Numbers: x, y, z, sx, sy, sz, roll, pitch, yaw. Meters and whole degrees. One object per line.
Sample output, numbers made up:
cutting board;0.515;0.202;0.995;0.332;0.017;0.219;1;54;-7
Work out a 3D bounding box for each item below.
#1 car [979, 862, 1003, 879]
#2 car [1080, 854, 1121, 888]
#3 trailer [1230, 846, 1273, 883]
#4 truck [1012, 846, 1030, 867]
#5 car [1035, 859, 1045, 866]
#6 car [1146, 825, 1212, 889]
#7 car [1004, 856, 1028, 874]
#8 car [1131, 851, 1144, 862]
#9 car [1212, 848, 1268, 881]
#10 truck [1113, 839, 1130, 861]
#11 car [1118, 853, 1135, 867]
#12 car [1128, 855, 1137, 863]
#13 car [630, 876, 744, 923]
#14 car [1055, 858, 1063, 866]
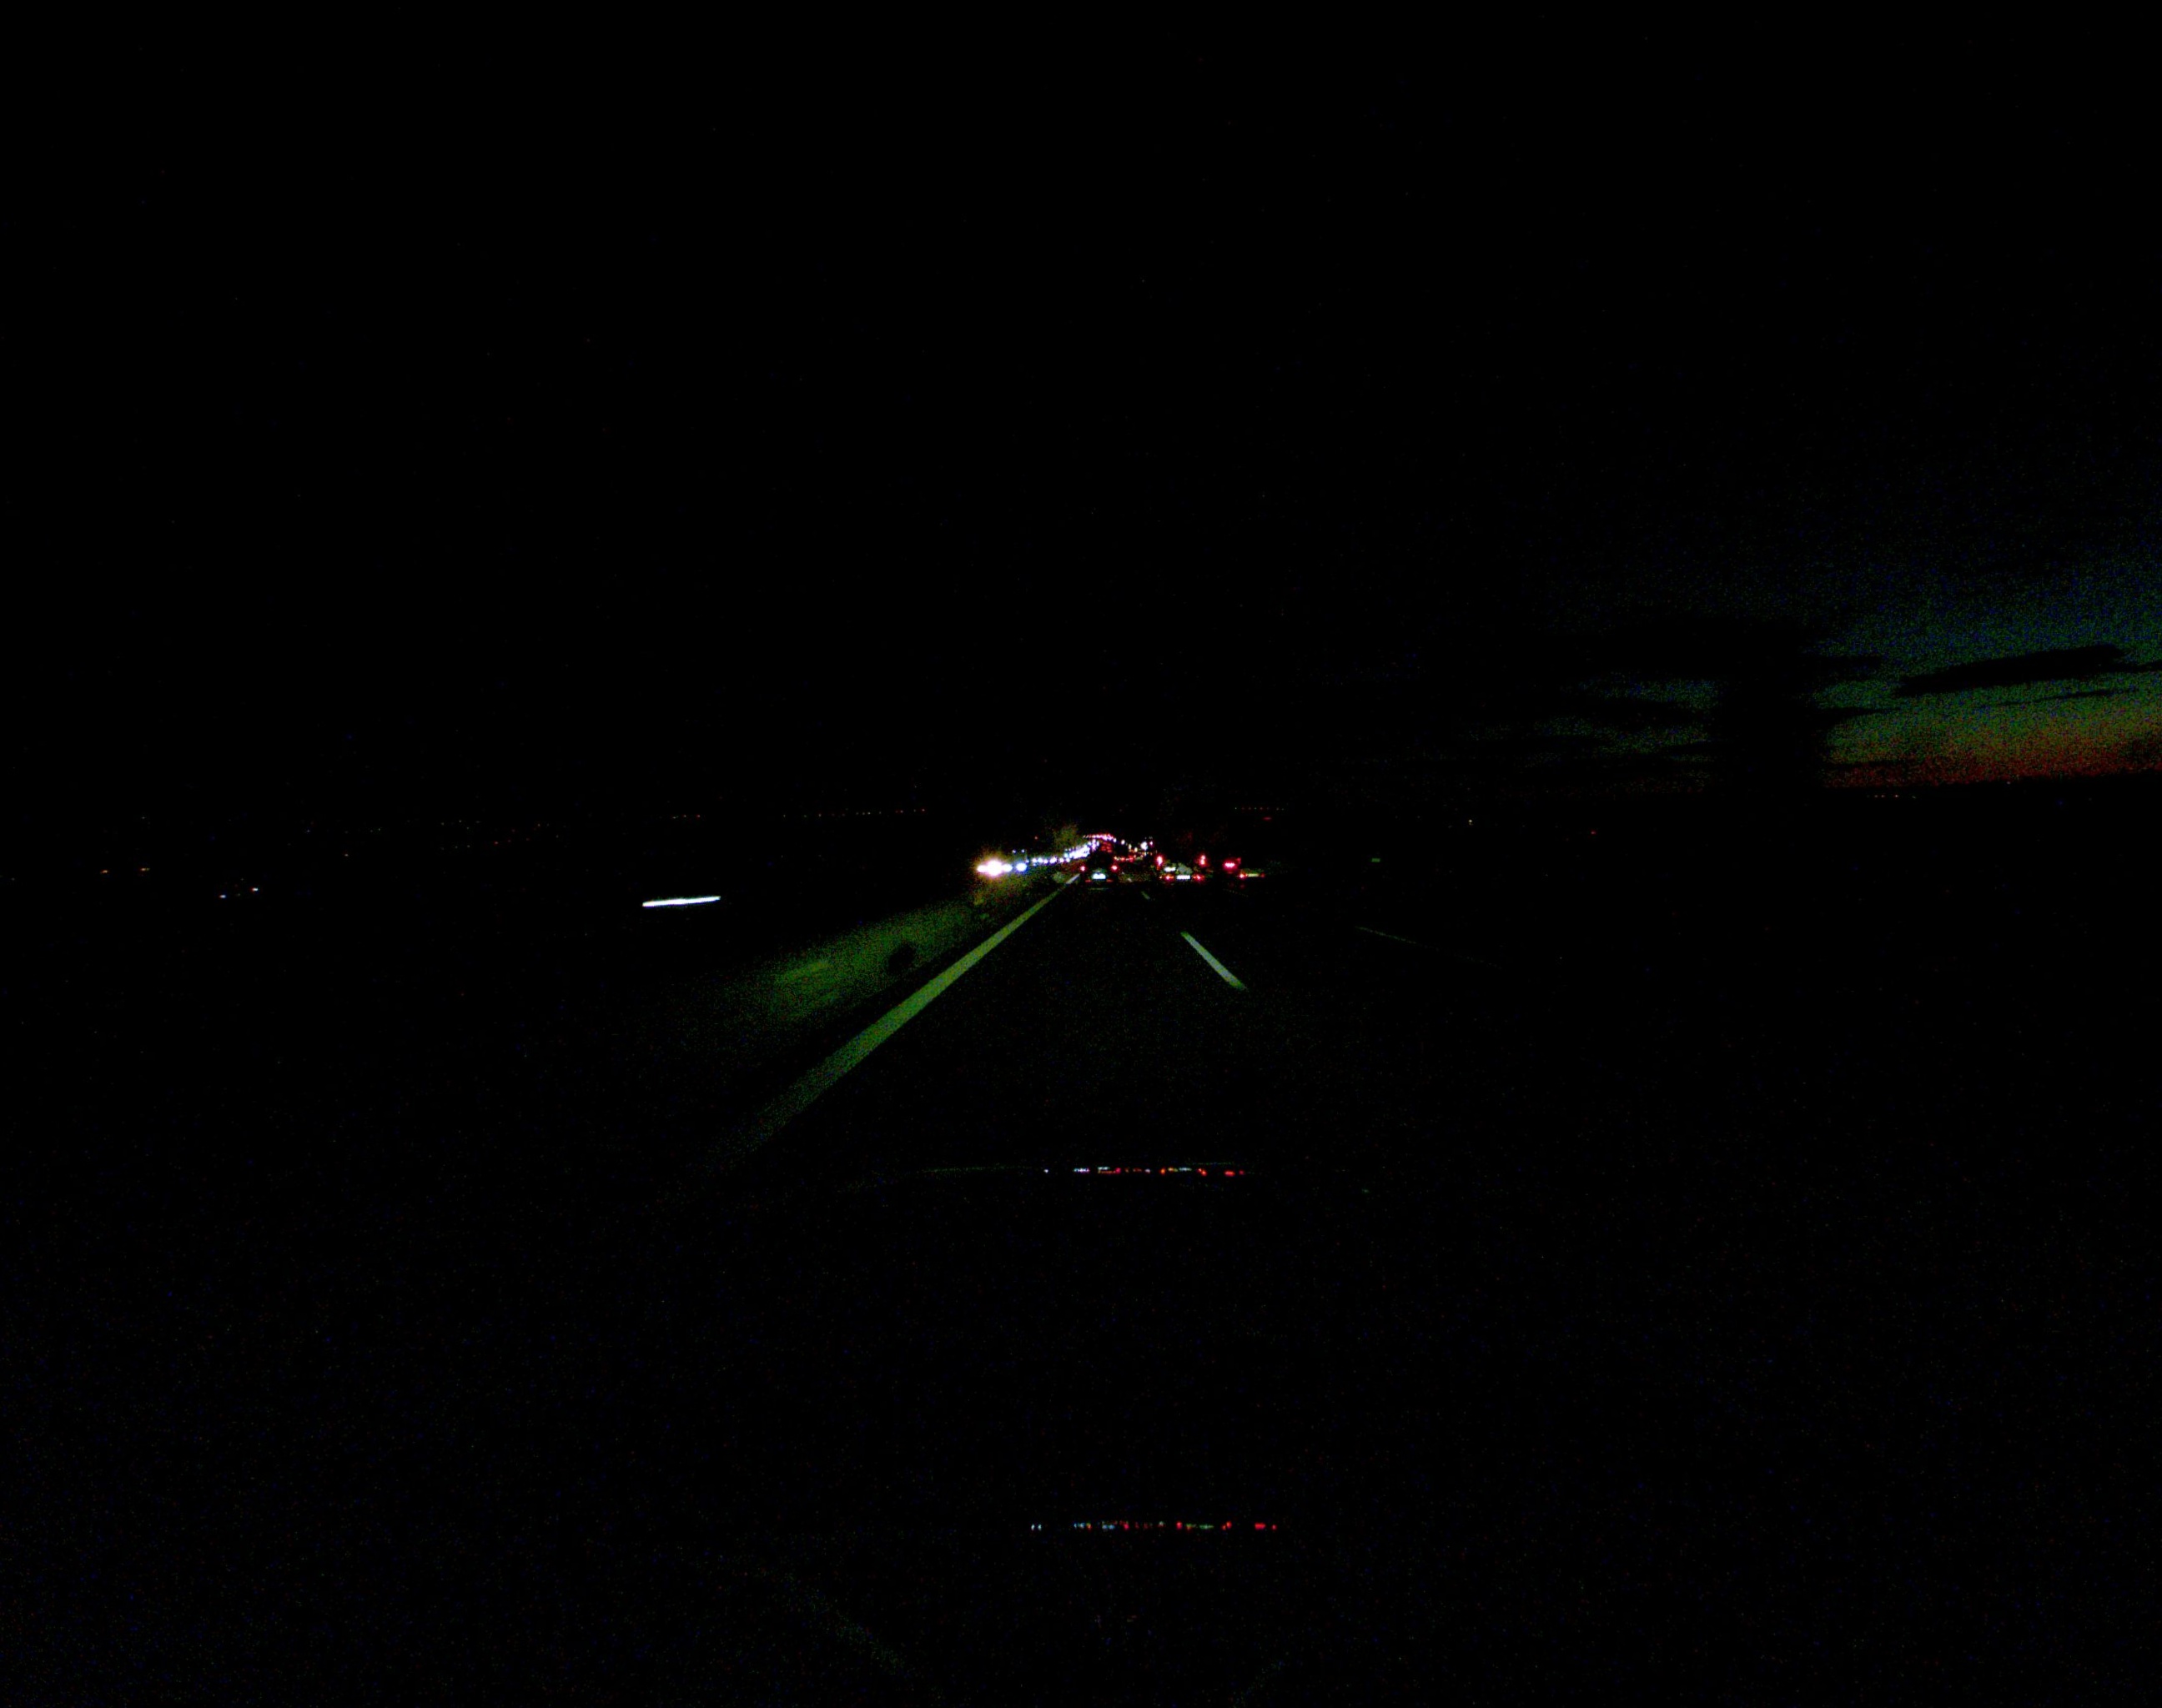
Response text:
car;-9.298;1.693;84.733;1.805;1.643;4.159;-2;0;2
car;0.952;0.764;38.633;1.787;1.469;3.775;-1;0;2
trailer;8.177;0.485;39.239;1.560;1.693;2.822;-2;0;2
truck;-11.745;0.489;159.502;2.772;3.955;7.992;-2;0;0
car;-9.891;1.974;196.993;1.986;1.632;4.001;-1;0;2
car;4.239;0.107;36.192;2.342;2.535;5.704;-2;0;2
car;-6.236;1.033;78.748;1.805;1.643;4.159;-2;0;2
car;11.291;0.564;162.472;2.342;2.075;4.725;-2;0;2
car;8.278;0.530;42.903;2.154;1.563;4.725;-2;0;2
truck;7.653;-0.768;156.386;2.772;3.955;7.992;-2;0;0
car;6.475;0.800;116.256;2.342;1.914;4.725;-2;0;2
car;12.652;1.136;201.427;1.986;1.948;4.001;-1;0;2
car;-15.695;1.755;32.828;1.987;1.478;5.045;-4;0;1
car;-5.499;2.104;207.094;1.767;1.968;4.001;-3;0;2
